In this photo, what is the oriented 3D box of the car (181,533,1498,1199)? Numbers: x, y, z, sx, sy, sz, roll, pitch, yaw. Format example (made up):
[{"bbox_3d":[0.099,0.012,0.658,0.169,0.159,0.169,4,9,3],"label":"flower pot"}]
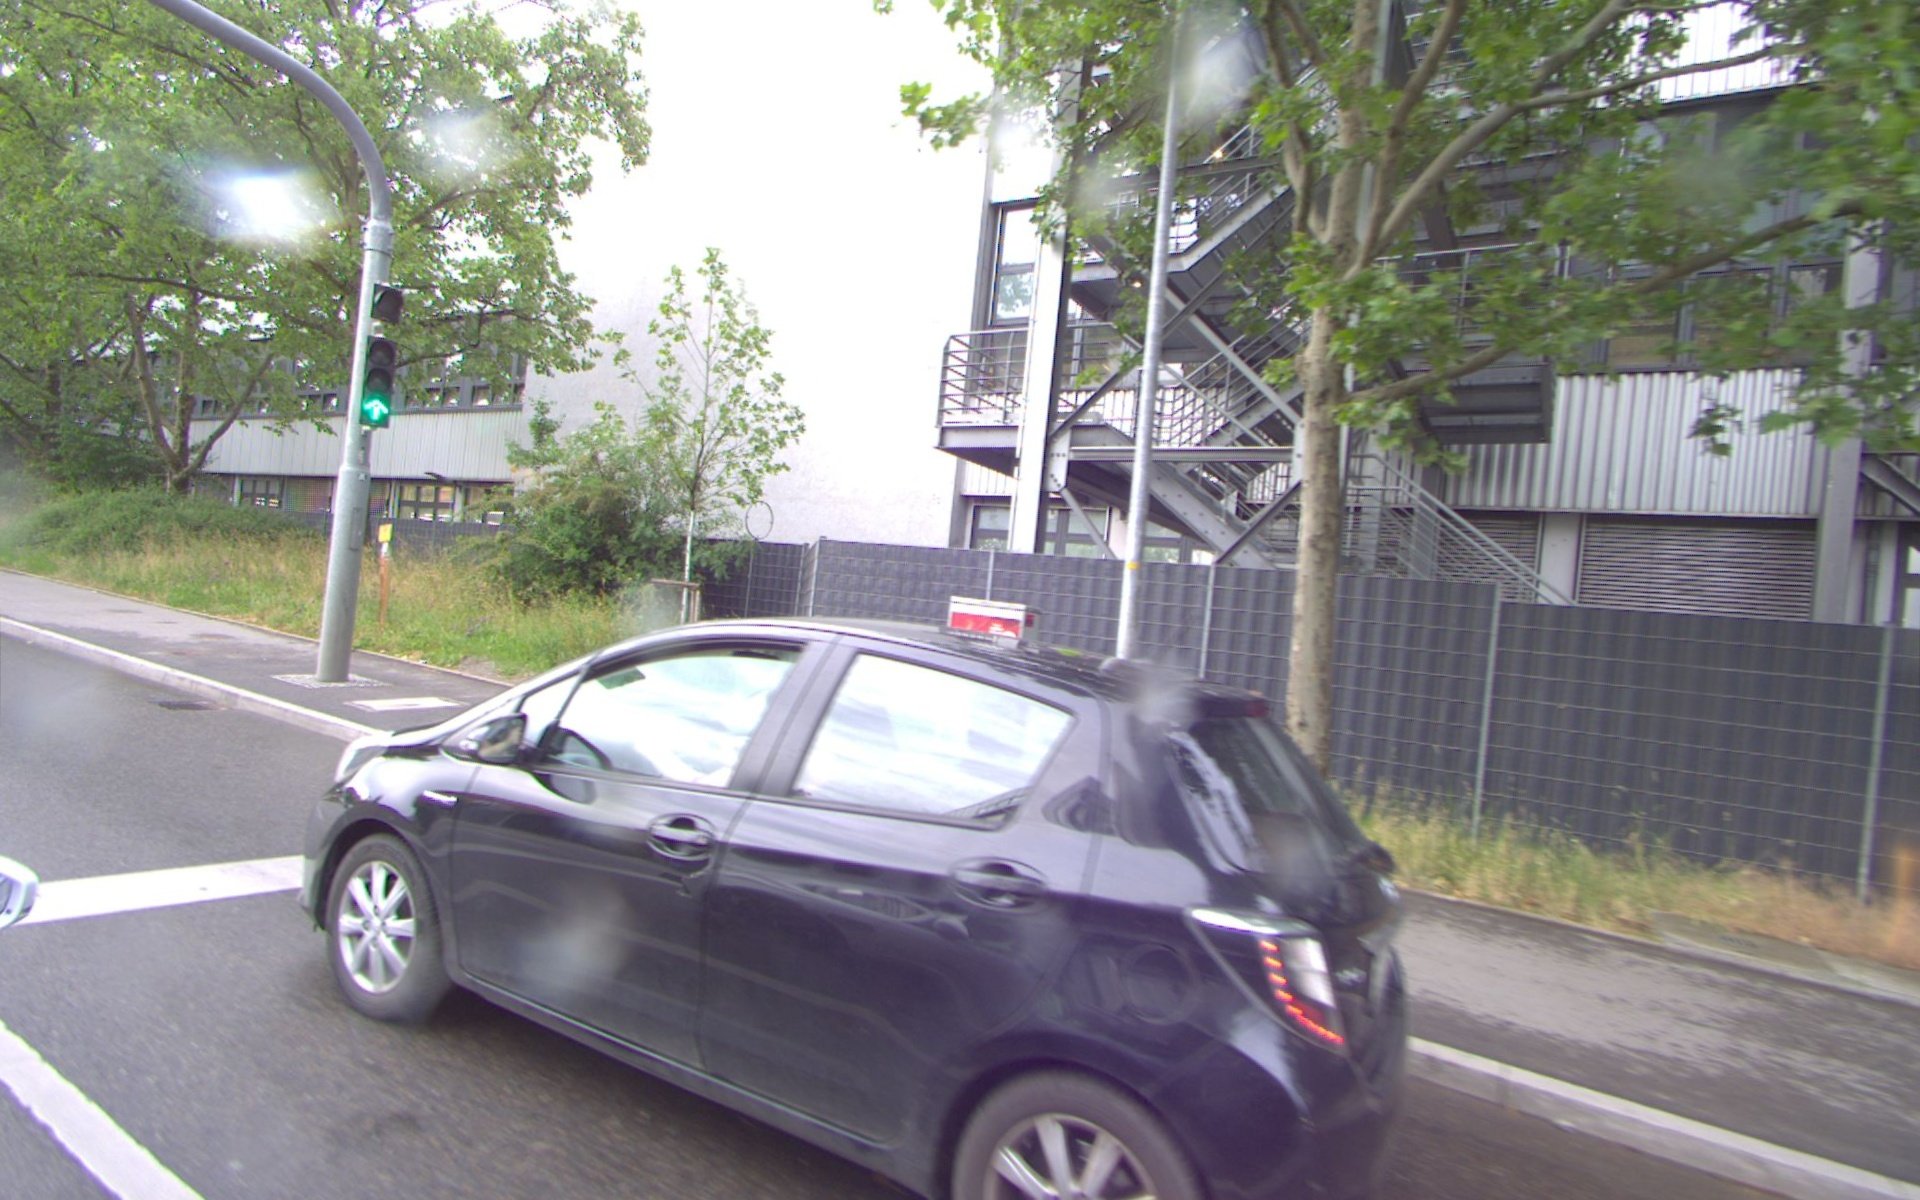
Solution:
[{"bbox_3d":[-0.512,0.762,3.472,4.005,1.513,1.879,6,0,28],"label":"car"}]
